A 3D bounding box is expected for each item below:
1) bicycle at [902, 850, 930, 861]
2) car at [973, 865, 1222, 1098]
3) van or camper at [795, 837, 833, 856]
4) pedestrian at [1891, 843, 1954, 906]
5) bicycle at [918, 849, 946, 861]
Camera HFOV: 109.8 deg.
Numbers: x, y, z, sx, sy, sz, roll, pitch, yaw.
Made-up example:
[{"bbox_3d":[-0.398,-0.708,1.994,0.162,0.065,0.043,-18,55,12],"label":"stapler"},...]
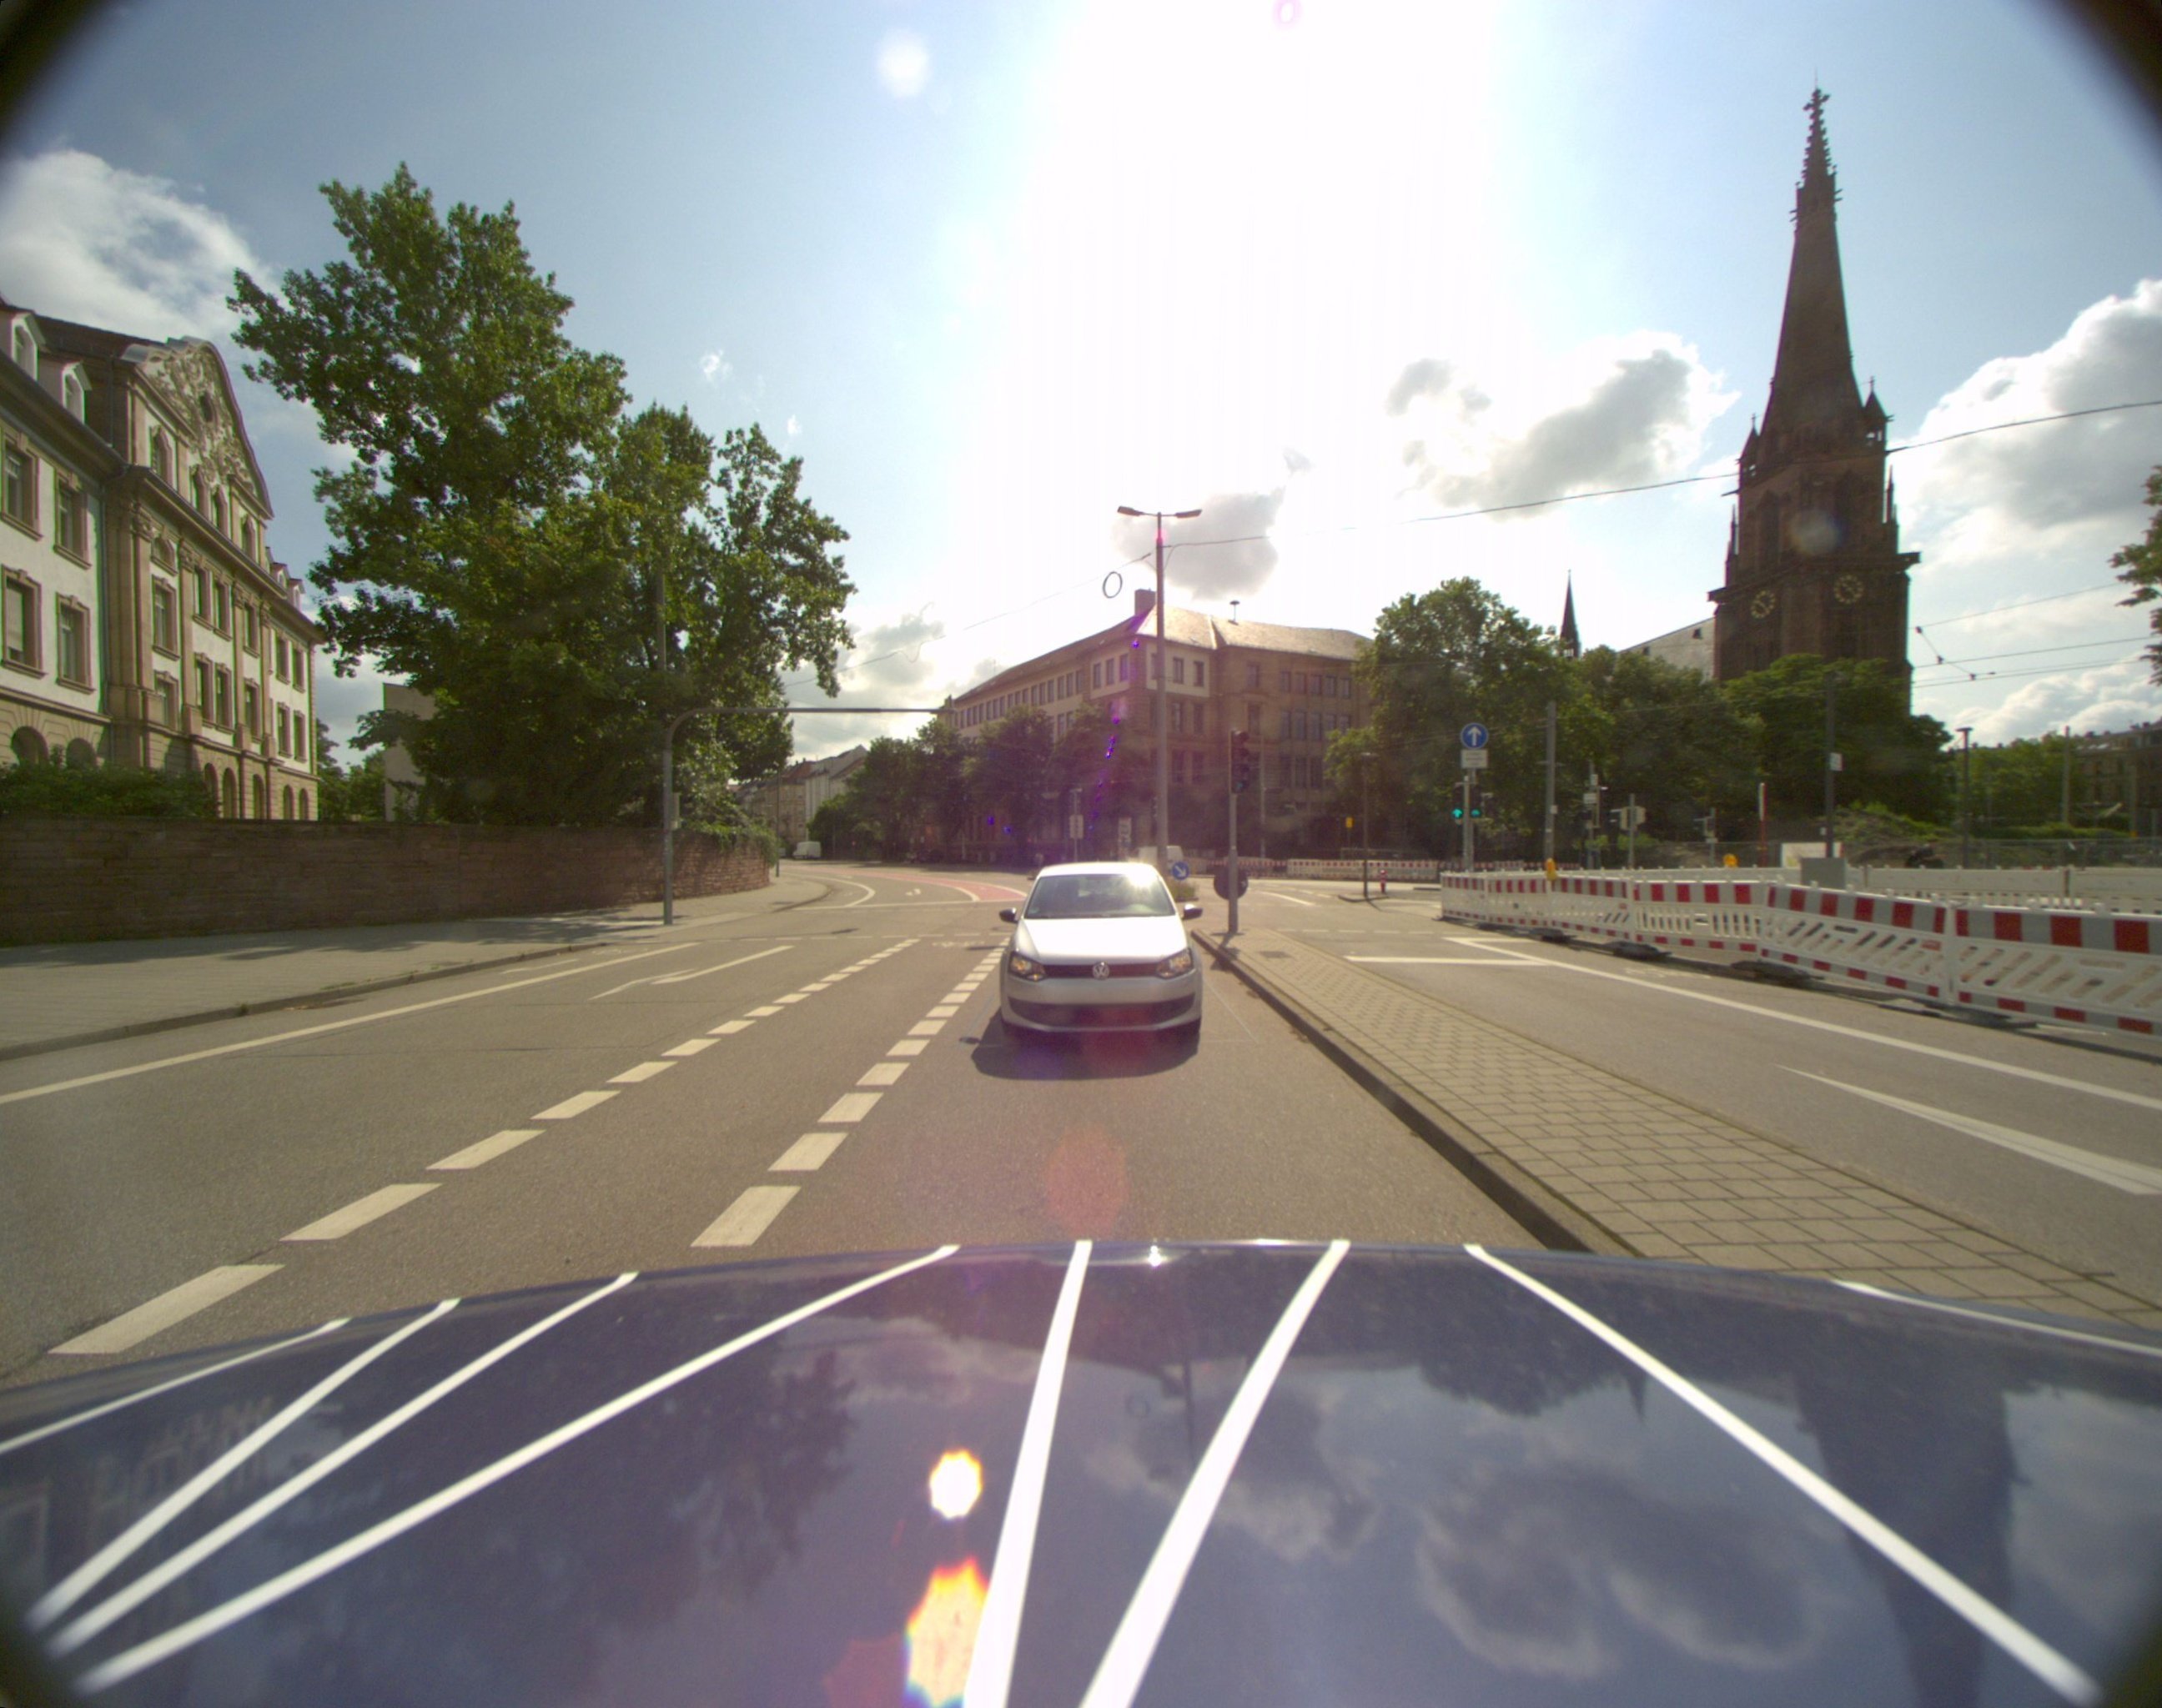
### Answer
[{"bbox_3d":[-19.352,0.158,89.097,2.891,1.201,1.073,0,4,9],"label":"bicycle"},{"bbox_3d":[0.139,0.906,7.220,1.655,1.433,4.004,-2,1,1],"label":"car"},{"bbox_3d":[-38.099,-1.121,108.245,2.982,2.587,6.739,0,1,-38],"label":"van or camper"},{"bbox_3d":[23.183,0.537,20.928,1.209,1.696,0.840,0,1,-26],"label":"pedestrian"},{"bbox_3d":[-17.047,0.114,86.800,2.891,1.201,1.050,0,4,9],"label":"bicycle"}]
